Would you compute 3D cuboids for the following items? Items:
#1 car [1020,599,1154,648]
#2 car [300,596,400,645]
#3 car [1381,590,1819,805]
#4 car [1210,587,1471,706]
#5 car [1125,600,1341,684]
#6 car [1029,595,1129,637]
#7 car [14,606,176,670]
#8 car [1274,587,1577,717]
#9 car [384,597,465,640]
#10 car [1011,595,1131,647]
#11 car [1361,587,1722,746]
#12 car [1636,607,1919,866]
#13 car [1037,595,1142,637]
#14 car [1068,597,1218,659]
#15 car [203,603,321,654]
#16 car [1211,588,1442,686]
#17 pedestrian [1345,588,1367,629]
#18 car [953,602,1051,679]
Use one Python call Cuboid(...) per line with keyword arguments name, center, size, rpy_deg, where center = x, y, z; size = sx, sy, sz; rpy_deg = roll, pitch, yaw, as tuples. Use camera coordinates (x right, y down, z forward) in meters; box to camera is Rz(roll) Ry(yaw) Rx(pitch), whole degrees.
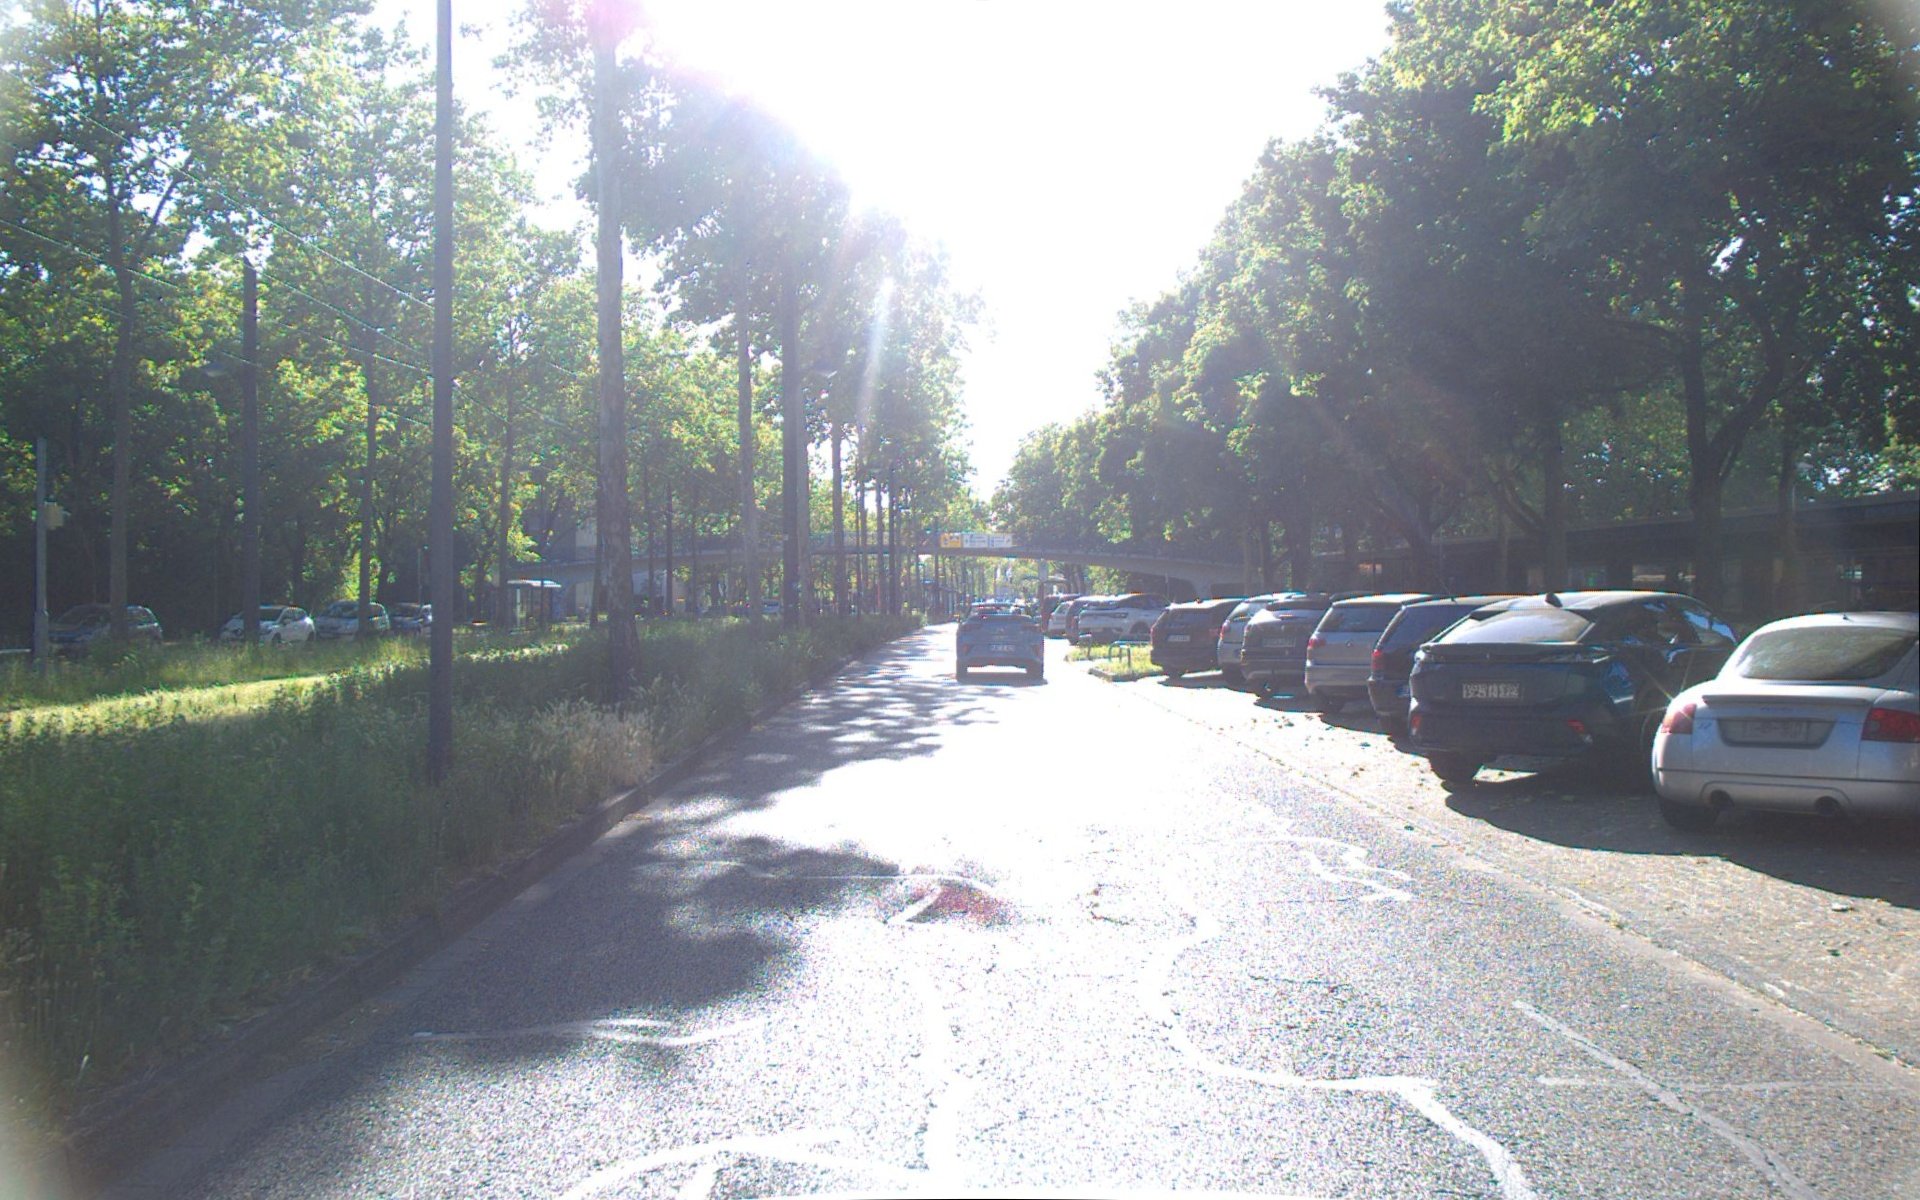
Cuboid(name="car", center=(4.241, 0.752, 54.675), size=(4.587, 1.548, 1.827), rpy_deg=(0, 0, -43))
Cuboid(name="car", center=(-22.151, 0.720, 60.243), size=(1.952, 1.617, 4.168), rpy_deg=(3, 0, 1))
Cuboid(name="car", center=(5.490, 0.693, 13.891), size=(4.297, 1.449, 1.826), rpy_deg=(-2, 0, -45))
Cuboid(name="car", center=(5.959, 0.658, 25.535), size=(1.825, 1.597, 4.593), rpy_deg=(-1, 0, 44))
Cuboid(name="car", center=(5.379, 0.770, 32.177), size=(1.945, 1.484, 4.595), rpy_deg=(-1, 0, 43))
Cuboid(name="car", center=(5.279, 0.694, 72.956), size=(4.587, 1.799, 1.827), rpy_deg=(1, 0, -43))
Cuboid(name="car", center=(-22.220, 0.948, 42.656), size=(1.952, 1.478, 4.001), rpy_deg=(3, 0, 1))
Cuboid(name="car", center=(6.139, 0.627, 21.528), size=(1.888, 1.475, 4.430), rpy_deg=(-3, -1, 44))
Cuboid(name="car", center=(-21.435, 0.713, 66.326), size=(1.750, 1.617, 4.168), rpy_deg=(3, 0, 1))
Cuboid(name="car", center=(3.949, 0.726, 58.318), size=(1.823, 1.710, 4.585), rpy_deg=(-3, -2, 41))
Cuboid(name="car", center=(6.446, 0.657, 18.086), size=(4.426, 1.475, 1.890), rpy_deg=(-1, -1, -43))
Cuboid(name="car", center=(6.263, 0.757, 11.067), size=(4.297, 1.320, 1.664), rpy_deg=(-2, 0, -45))
Cuboid(name="car", center=(5.503, 0.689, 69.809), size=(4.587, 1.710, 1.827), rpy_deg=(1, 0, -43))
Cuboid(name="car", center=(5.351, 0.798, 47.925), size=(4.587, 1.710, 1.827), rpy_deg=(1, 0, -43))
Cuboid(name="car", center=(-22.371, 0.892, 53.159), size=(1.952, 1.478, 4.001), rpy_deg=(3, 0, 1))
Cuboid(name="car", center=(6.578, 0.599, 29.370), size=(4.590, 1.597, 1.826), rpy_deg=(-1, 0, -45))
Cuboid(name="pedestrian", center=(20.185, 0.418, 84.301), size=(0.814, 2.049, 0.739), rpy_deg=(0, 0, -41))
Cuboid(name="car", center=(0.830, 0.778, 34.037), size=(1.883, 1.436, 4.000), rpy_deg=(1, 0, 0))
